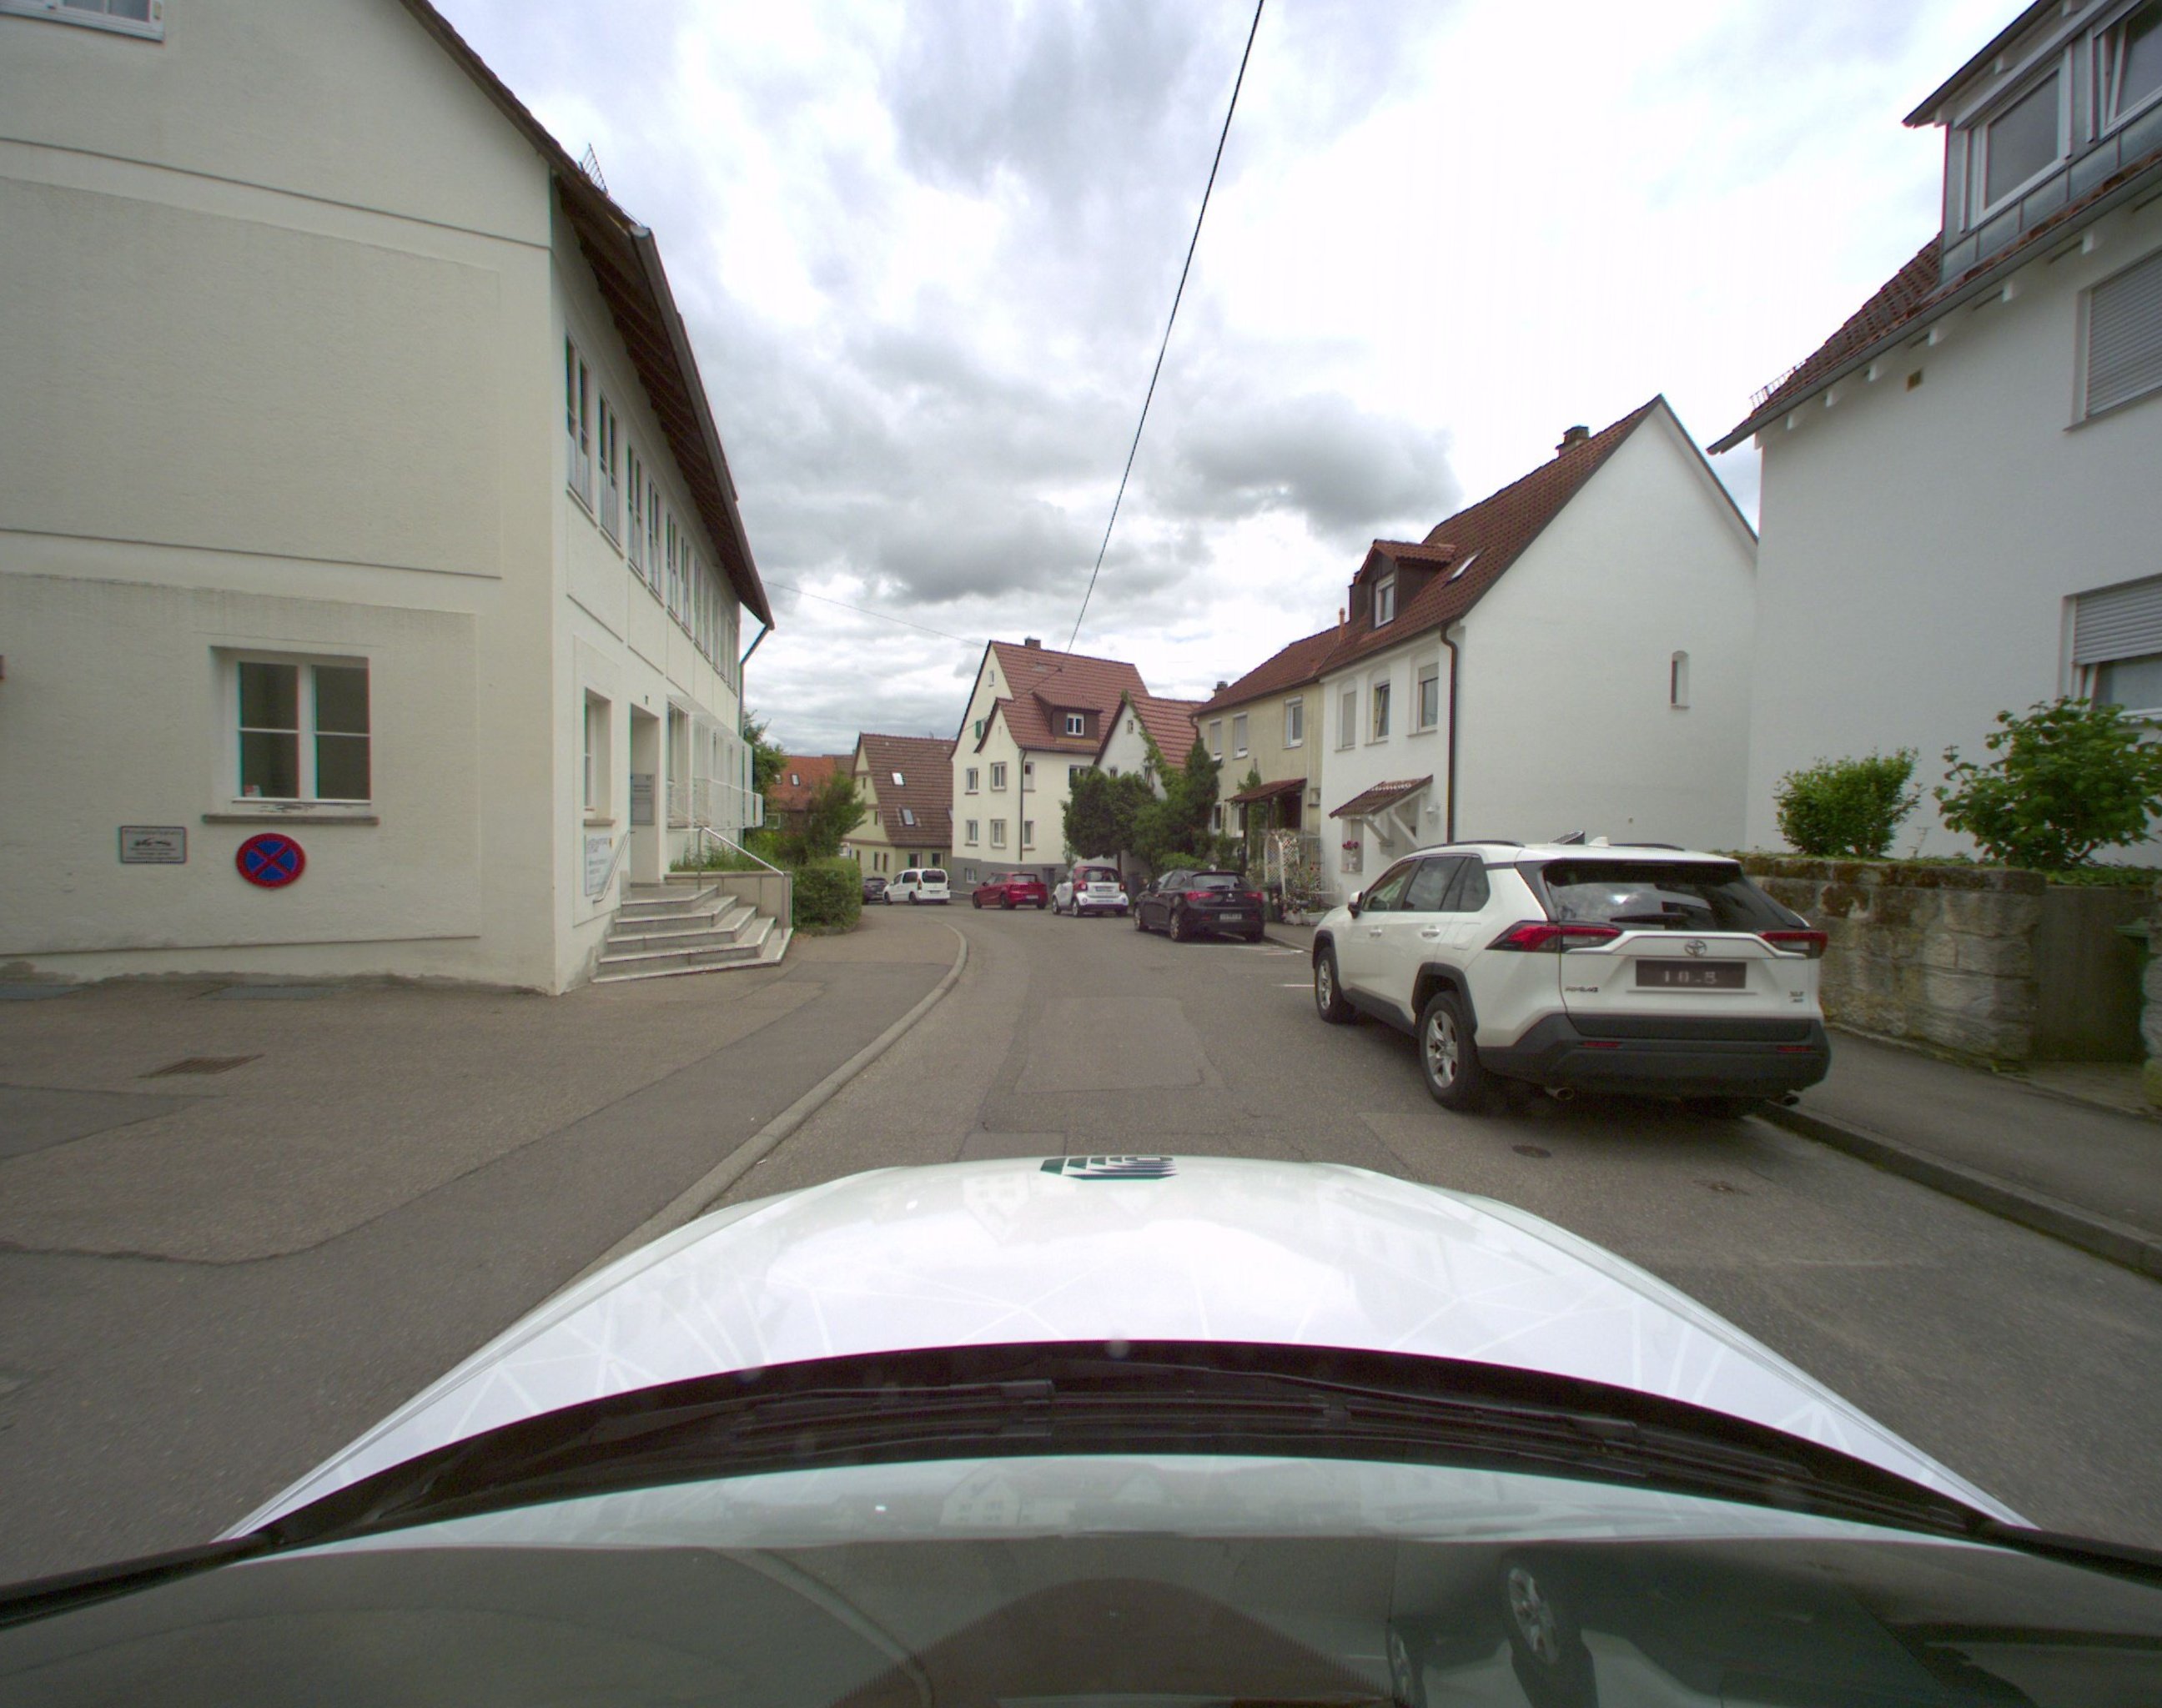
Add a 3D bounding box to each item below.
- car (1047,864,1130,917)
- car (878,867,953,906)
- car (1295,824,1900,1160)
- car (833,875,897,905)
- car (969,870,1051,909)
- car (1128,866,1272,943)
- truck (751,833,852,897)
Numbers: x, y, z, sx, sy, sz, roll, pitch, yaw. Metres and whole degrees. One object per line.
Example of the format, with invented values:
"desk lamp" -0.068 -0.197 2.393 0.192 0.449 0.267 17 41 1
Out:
"car" 0.192 1.126 25.611 1.617 1.533 2.876 3 -3 -21
"car" -8.198 1.605 40.183 1.850 1.815 4.253 2 -3 -39
"car" 3.213 0.686 6.372 1.939 1.639 4.461 2 0 1
"car" -11.760 1.975 44.198 1.748 1.506 4.001 2 -4 -42
"car" -2.813 1.382 31.768 1.690 1.452 3.813 1 -3 -31
"car" 2.371 0.978 17.241 1.719 1.407 3.986 1 -1 -12
"truck" -17.164 0.786 49.653 2.700 3.598 8.005 1 -3 -44
